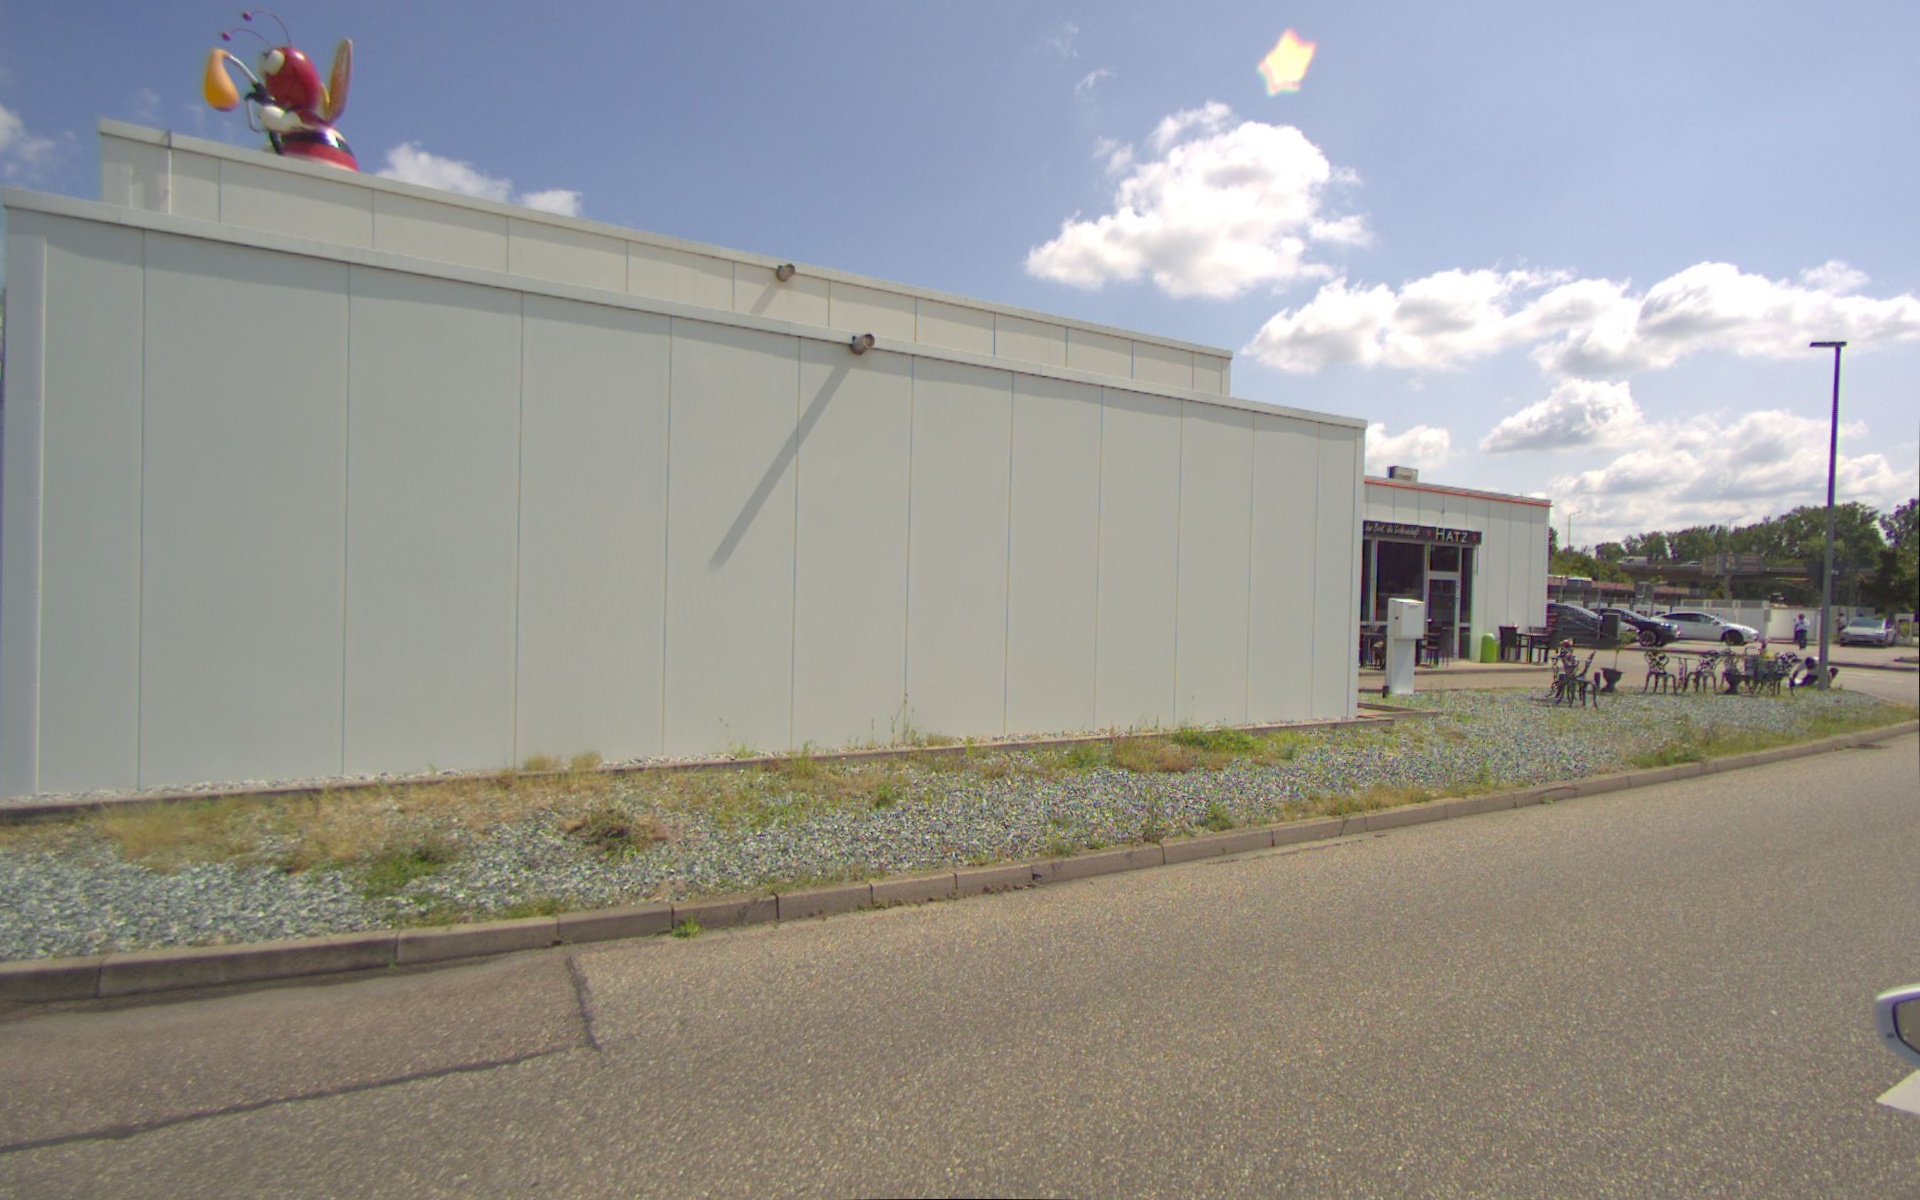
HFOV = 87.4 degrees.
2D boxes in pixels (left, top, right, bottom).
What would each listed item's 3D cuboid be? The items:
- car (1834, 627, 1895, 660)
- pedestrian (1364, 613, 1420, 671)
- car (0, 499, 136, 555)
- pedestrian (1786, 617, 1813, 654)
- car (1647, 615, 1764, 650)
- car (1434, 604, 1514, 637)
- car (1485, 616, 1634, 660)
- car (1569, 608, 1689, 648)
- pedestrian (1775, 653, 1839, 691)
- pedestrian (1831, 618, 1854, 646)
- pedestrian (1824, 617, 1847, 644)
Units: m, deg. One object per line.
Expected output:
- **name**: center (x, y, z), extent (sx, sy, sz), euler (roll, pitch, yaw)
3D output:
- **car**: center (50.508, 2.375, 56.057), extent (4.736, 1.538, 1.914), euler (-1, 2, -41)
- **pedestrian**: center (9.770, 0.938, 22.702), extent (0.888, 1.273, 0.749), euler (1, 1, -29)
- **car**: center (-41.968, -3.352, 46.672), extent (5.524, 2.288, 1.973), euler (0, 2, -45)
- **pedestrian**: center (39.422, 1.668, 47.163), extent (0.934, 1.675, 0.854), euler (2, 0, -43)
- **car**: center (38.125, 1.641, 51.457), extent (1.986, 1.544, 4.508), euler (2, 0, -42)
- **car**: center (25.371, 1.010, 49.533), extent (4.261, 1.502, 1.902), euler (2, 0, -38)
- **car**: center (24.046, 1.475, 40.384), extent (2.221, 1.475, 4.701), euler (1, 1, -42)
- **car**: center (29.282, 1.211, 44.042), extent (1.985, 1.539, 3.952), euler (2, 0, -41)
- **pedestrian**: center (18.795, 1.591, 22.291), extent (0.809, 0.770, 0.857), euler (2, 0, -32)
- **pedestrian**: center (51.936, 1.865, 59.089), extent (0.708, 1.600, 0.713), euler (1, 0, -3)
- **pedestrian**: center (52.157, 1.822, 59.818), extent (0.699, 1.586, 0.759), euler (1, 0, 5)
